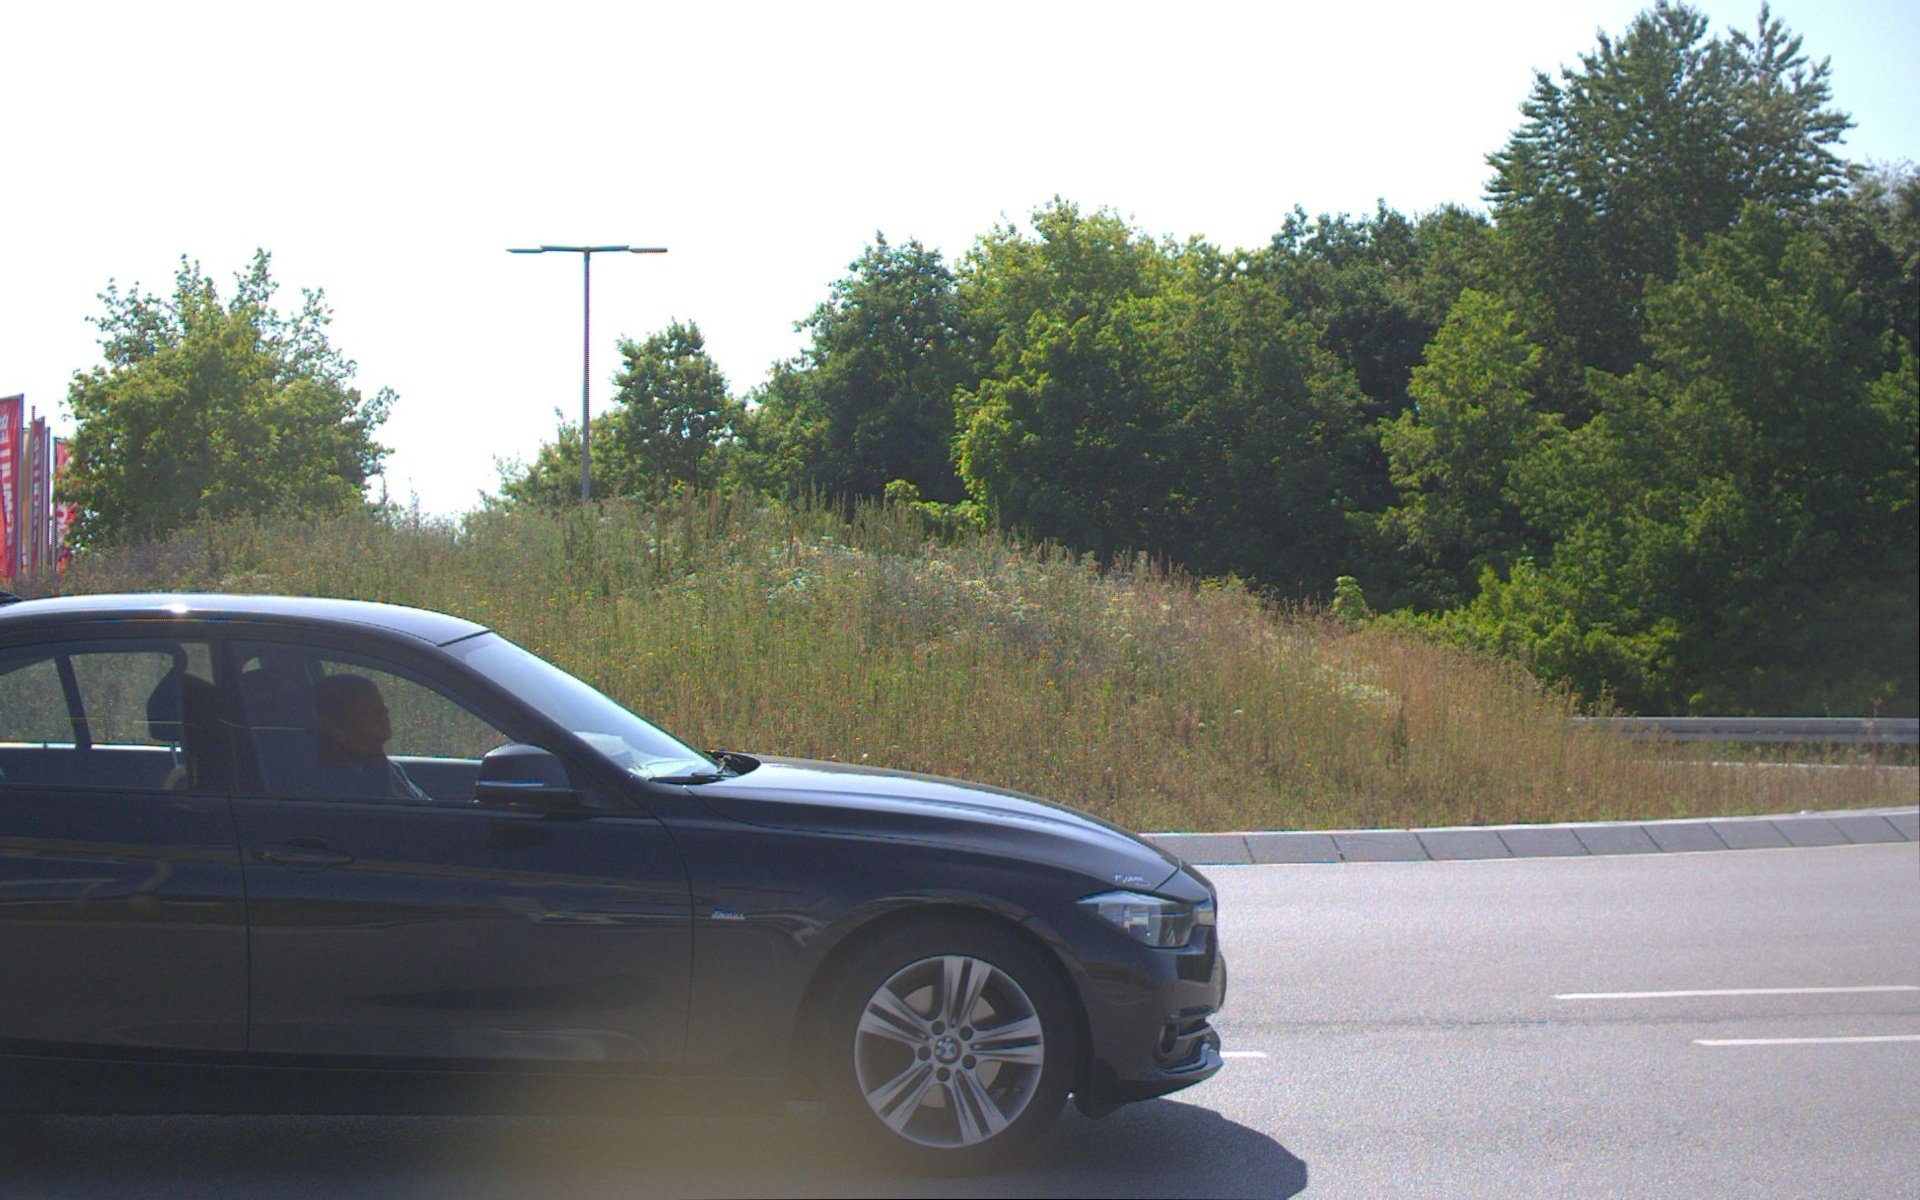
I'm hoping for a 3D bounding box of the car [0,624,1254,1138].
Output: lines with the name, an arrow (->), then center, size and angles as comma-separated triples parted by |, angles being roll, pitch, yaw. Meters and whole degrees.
car -> -1.283, 0.685, 9.075 | 3.851, 1.178, 1.677 | 1, 0, -5
